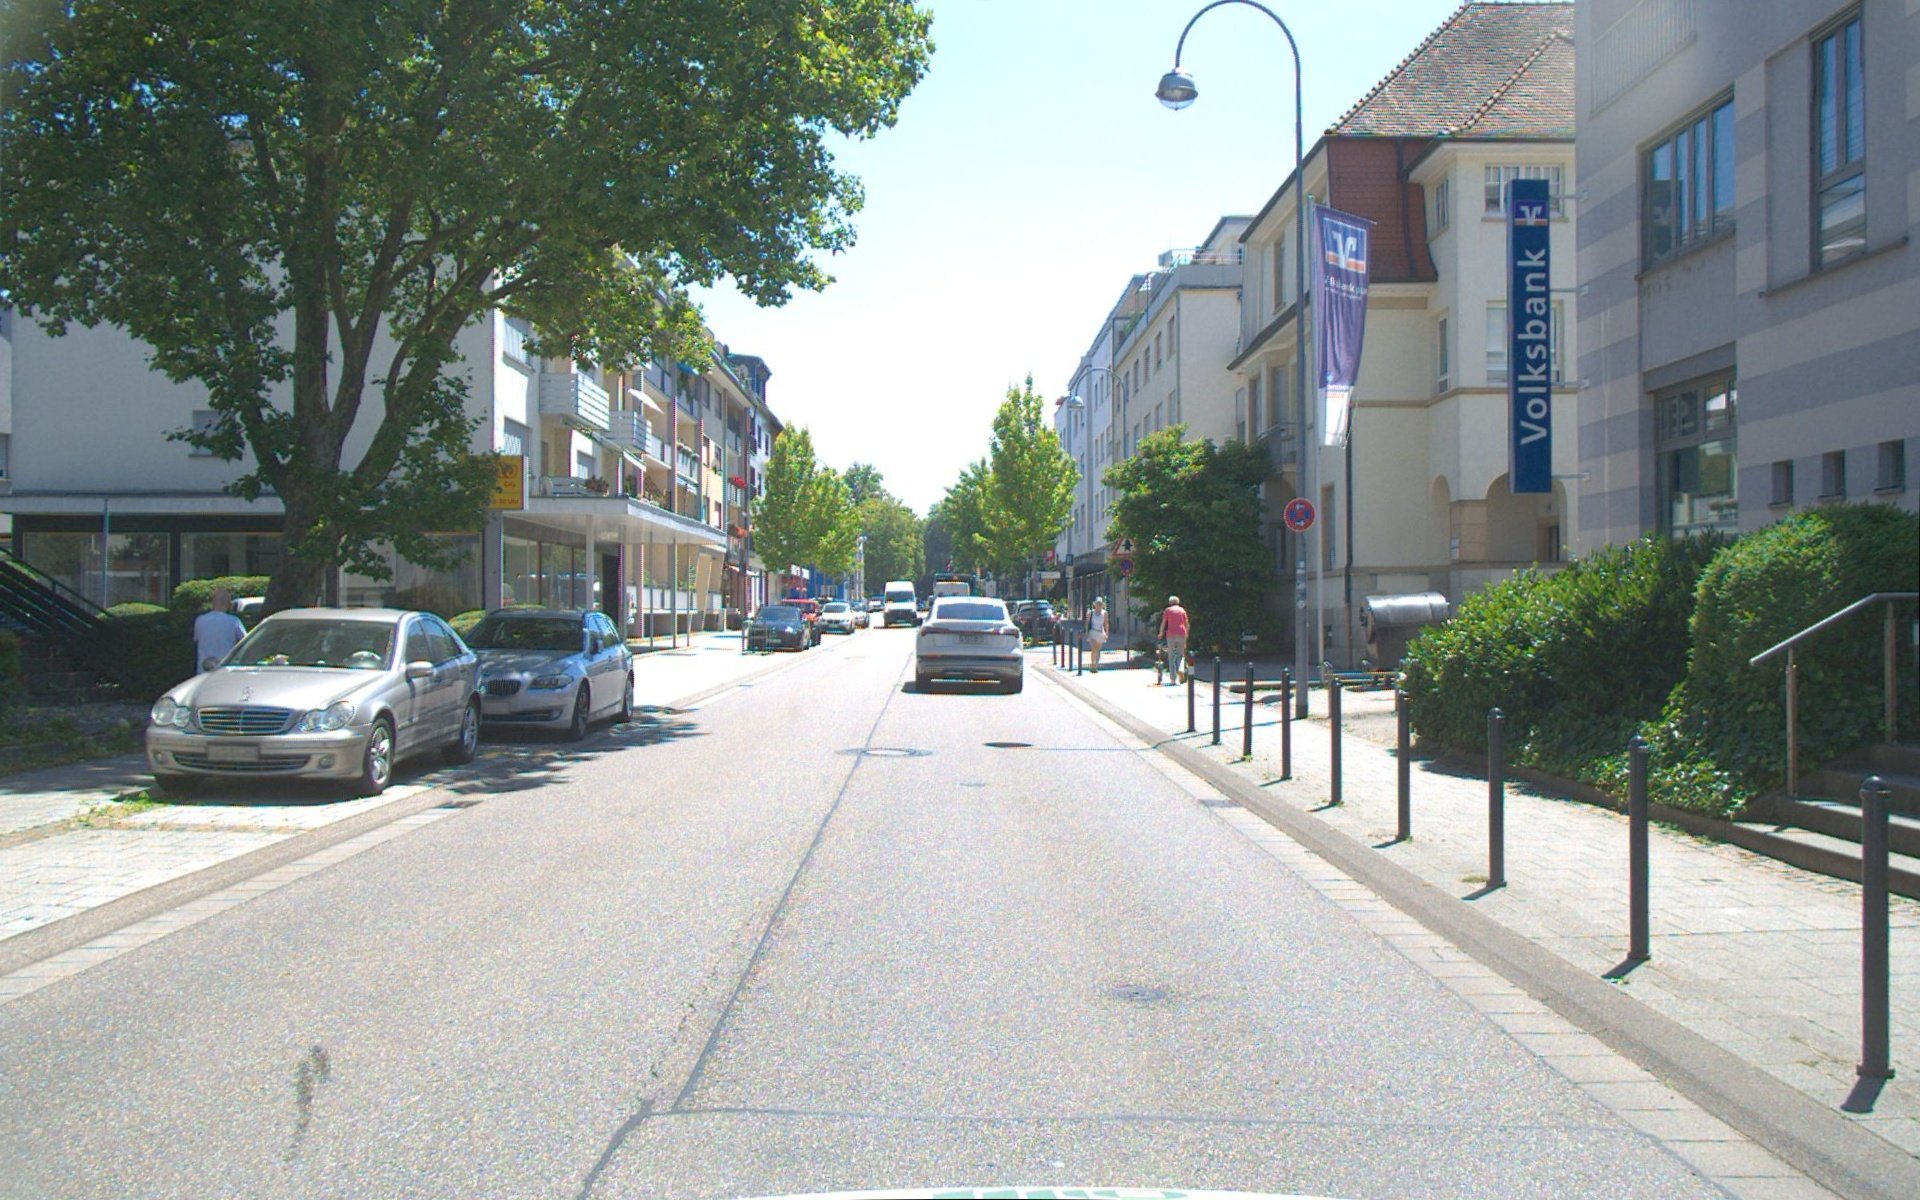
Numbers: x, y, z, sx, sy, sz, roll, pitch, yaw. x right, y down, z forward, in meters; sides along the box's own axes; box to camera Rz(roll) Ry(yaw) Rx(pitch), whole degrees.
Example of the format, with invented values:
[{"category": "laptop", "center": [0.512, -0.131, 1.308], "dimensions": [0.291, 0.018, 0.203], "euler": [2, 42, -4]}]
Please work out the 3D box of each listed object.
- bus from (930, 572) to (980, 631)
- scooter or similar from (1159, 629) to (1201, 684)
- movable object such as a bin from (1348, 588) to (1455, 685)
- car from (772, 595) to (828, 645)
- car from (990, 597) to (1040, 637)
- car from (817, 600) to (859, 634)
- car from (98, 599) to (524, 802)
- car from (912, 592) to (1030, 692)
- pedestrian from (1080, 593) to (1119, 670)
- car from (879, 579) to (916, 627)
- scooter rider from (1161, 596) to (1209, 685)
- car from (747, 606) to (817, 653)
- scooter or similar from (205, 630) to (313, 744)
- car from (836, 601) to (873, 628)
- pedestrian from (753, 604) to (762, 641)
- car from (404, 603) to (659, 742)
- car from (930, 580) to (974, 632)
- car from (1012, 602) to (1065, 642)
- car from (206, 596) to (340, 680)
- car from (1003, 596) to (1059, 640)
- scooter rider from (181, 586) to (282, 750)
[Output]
[{"category": "bus", "center": [-0.223, 0.128, 98.050], "dimensions": [2.605, 3.278, 7.302], "euler": [2, 0, 2]}, {"category": "scooter or similar", "center": [4.070, 1.033, 30.583], "dimensions": [0.650, 0.980, 0.753], "euler": [-1, 0, -1]}, {"category": "movable object such as a bin", "center": [7.257, 0.586, 27.280], "dimensions": [1.340, 1.484, 1.380], "euler": [-3, -1, 1]}, {"category": "car", "center": [-5.971, 0.732, 62.060], "dimensions": [1.717, 1.732, 4.100], "euler": [2, 0, -1]}, {"category": "car", "center": [2.439, 0.751, 74.396], "dimensions": [1.819, 1.704, 4.534], "euler": [-2, 0, -3]}, {"category": "car", "center": [-6.274, 0.840, 85.366], "dimensions": [1.716, 1.646, 4.401], "euler": [2, 0, 0]}, {"category": "car", "center": [-5.421, 0.745, 14.625], "dimensions": [1.941, 1.477, 4.866], "euler": [1, 0, -2]}, {"category": "car", "center": [0.137, 0.719, 29.991], "dimensions": [1.953, 1.661, 3.998], "euler": [1, 0, -2]}, {"category": "pedestrian", "center": [3.084, 0.688, 36.589], "dimensions": [0.686, 1.655, 0.783], "euler": [-3, -1, -2]}, {"category": "car", "center": [-3.708, 0.191, 99.007], "dimensions": [1.995, 2.676, 7.106], "euler": [-2, 0, -1]}, {"category": "scooter rider", "center": [4.062, 0.719, 29.951], "dimensions": [0.701, 1.576, 0.770], "euler": [-1, 0, -3]}, {"category": "car", "center": [-5.928, 0.941, 55.585], "dimensions": [1.858, 1.442, 5.046], "euler": [2, 0, -1]}, {"category": "scooter or similar", "center": [-7.361, 0.898, 17.405], "dimensions": [0.649, 1.117, 1.028], "euler": [2, 0, 1]}, {"category": "car", "center": [-6.106, 0.810, 96.235], "dimensions": [1.716, 1.478, 4.401], "euler": [2, 0, 1]}, {"category": "pedestrian", "center": [-9.730, 1.063, 79.436], "dimensions": [0.387, 1.765, 0.444], "euler": [0, 0, -12]}, {"category": "car", "center": [-5.112, 0.798, 20.525], "dimensions": [1.941, 1.477, 5.149], "euler": [1, 0, -2]}, {"category": "car", "center": [-0.409, 0.298, 83.359], "dimensions": [2.112, 2.484, 5.282], "euler": [2, 0, 0]}, {"category": "car", "center": [2.965, 0.803, 62.918], "dimensions": [1.857, 1.463, 4.544], "euler": [0, 0, 1]}, {"category": "car", "center": [-13.357, 0.695, 32.035], "dimensions": [1.872, 1.512, 3.954], "euler": [0, 0, -31]}, {"category": "car", "center": [2.930, 0.723, 69.060], "dimensions": [1.858, 1.704, 4.688], "euler": [-2, 0, -3]}, {"category": "scooter rider", "center": [-7.384, 0.675, 16.797], "dimensions": [0.576, 1.603, 0.877], "euler": [2, 0, 0]}]
